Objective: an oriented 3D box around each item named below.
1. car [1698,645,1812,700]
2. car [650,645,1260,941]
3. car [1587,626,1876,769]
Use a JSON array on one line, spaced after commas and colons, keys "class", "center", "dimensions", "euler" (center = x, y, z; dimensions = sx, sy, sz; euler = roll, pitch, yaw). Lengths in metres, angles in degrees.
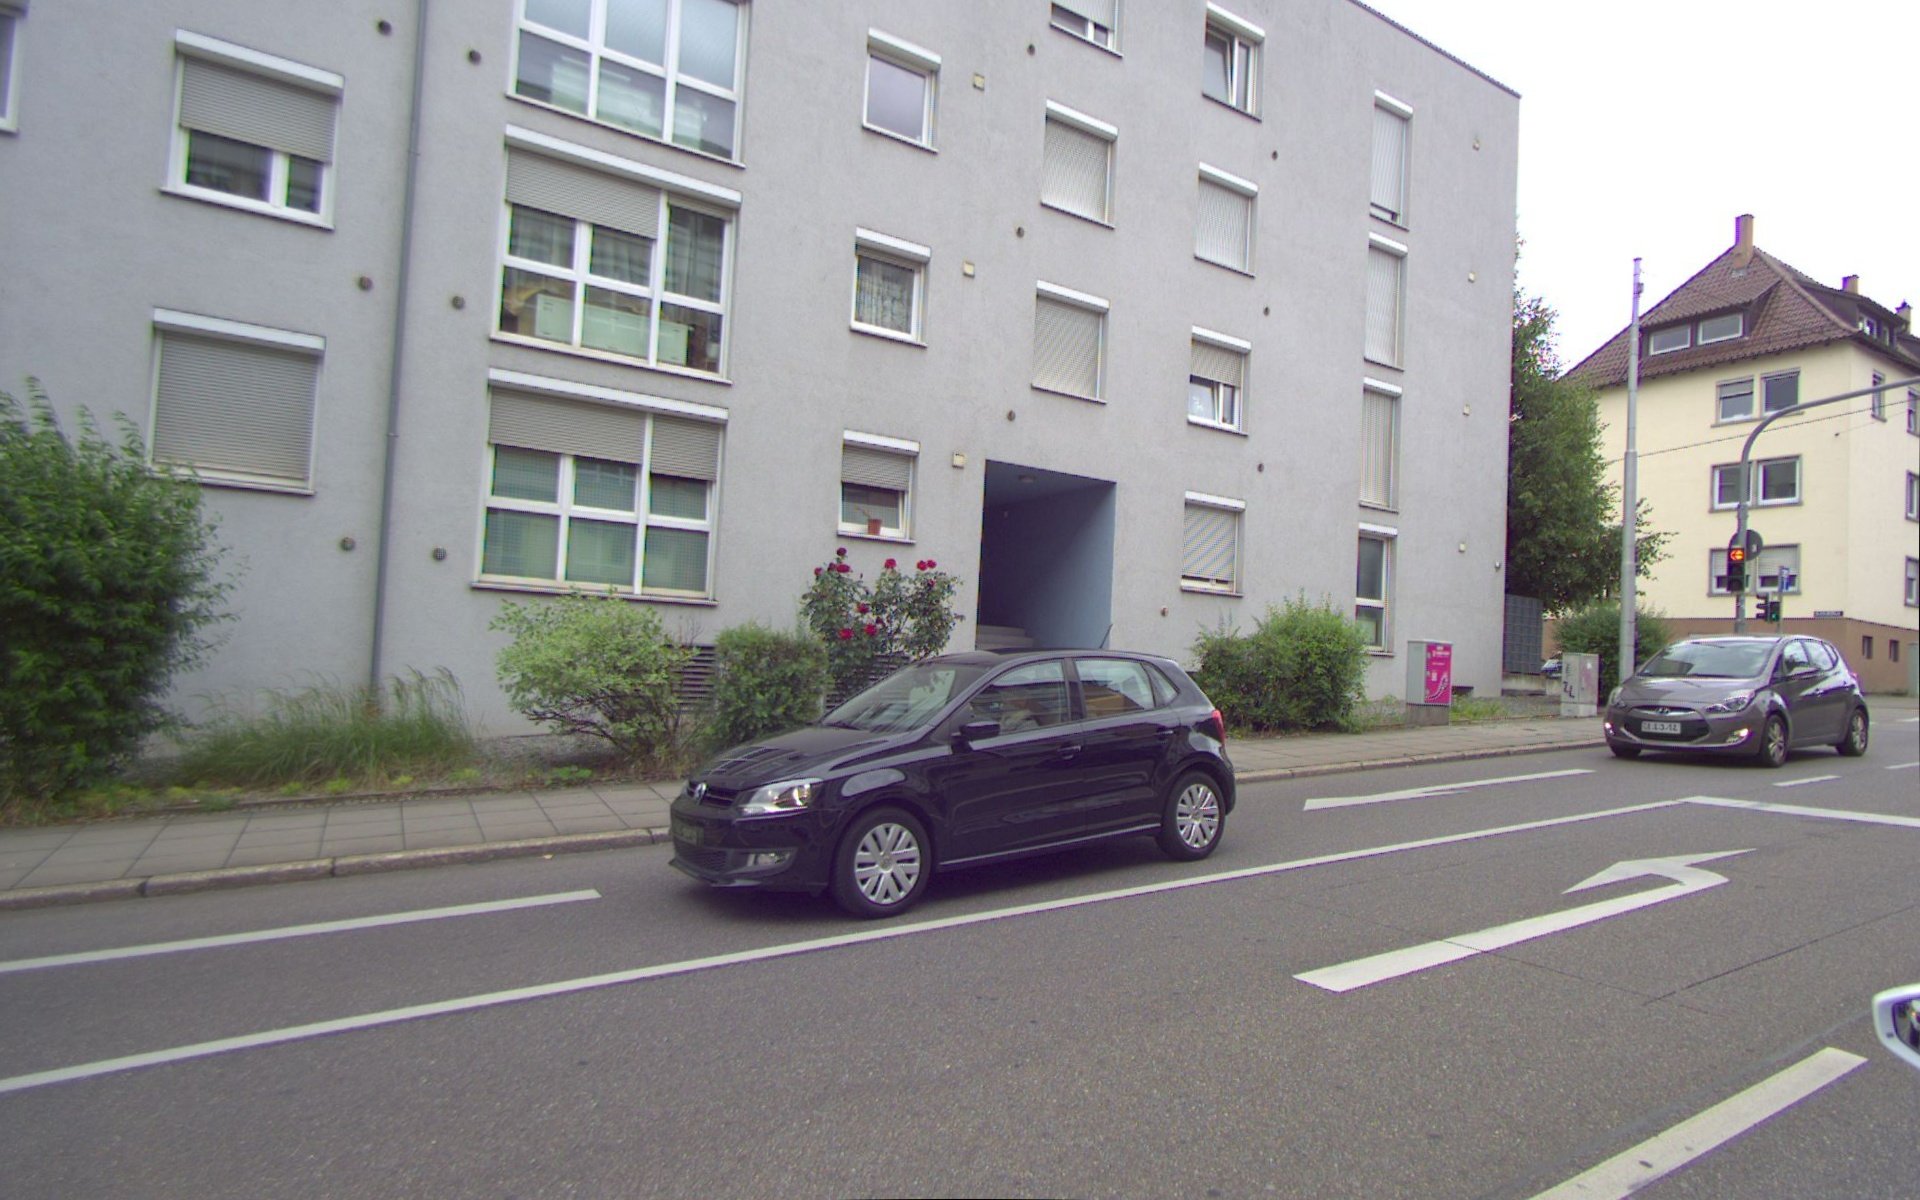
[{"class": "car", "center": [24.452, 2.202, 30.867], "dimensions": [3.727, 1.575, 1.681], "euler": [1, -4, -34]}, {"class": "car", "center": [0.064, 1.030, 6.647], "dimensions": [3.755, 1.418, 1.663], "euler": [1, -4, -34]}, {"class": "car", "center": [10.094, 1.188, 13.096], "dimensions": [3.892, 1.607, 1.695], "euler": [1, -4, -32]}]
